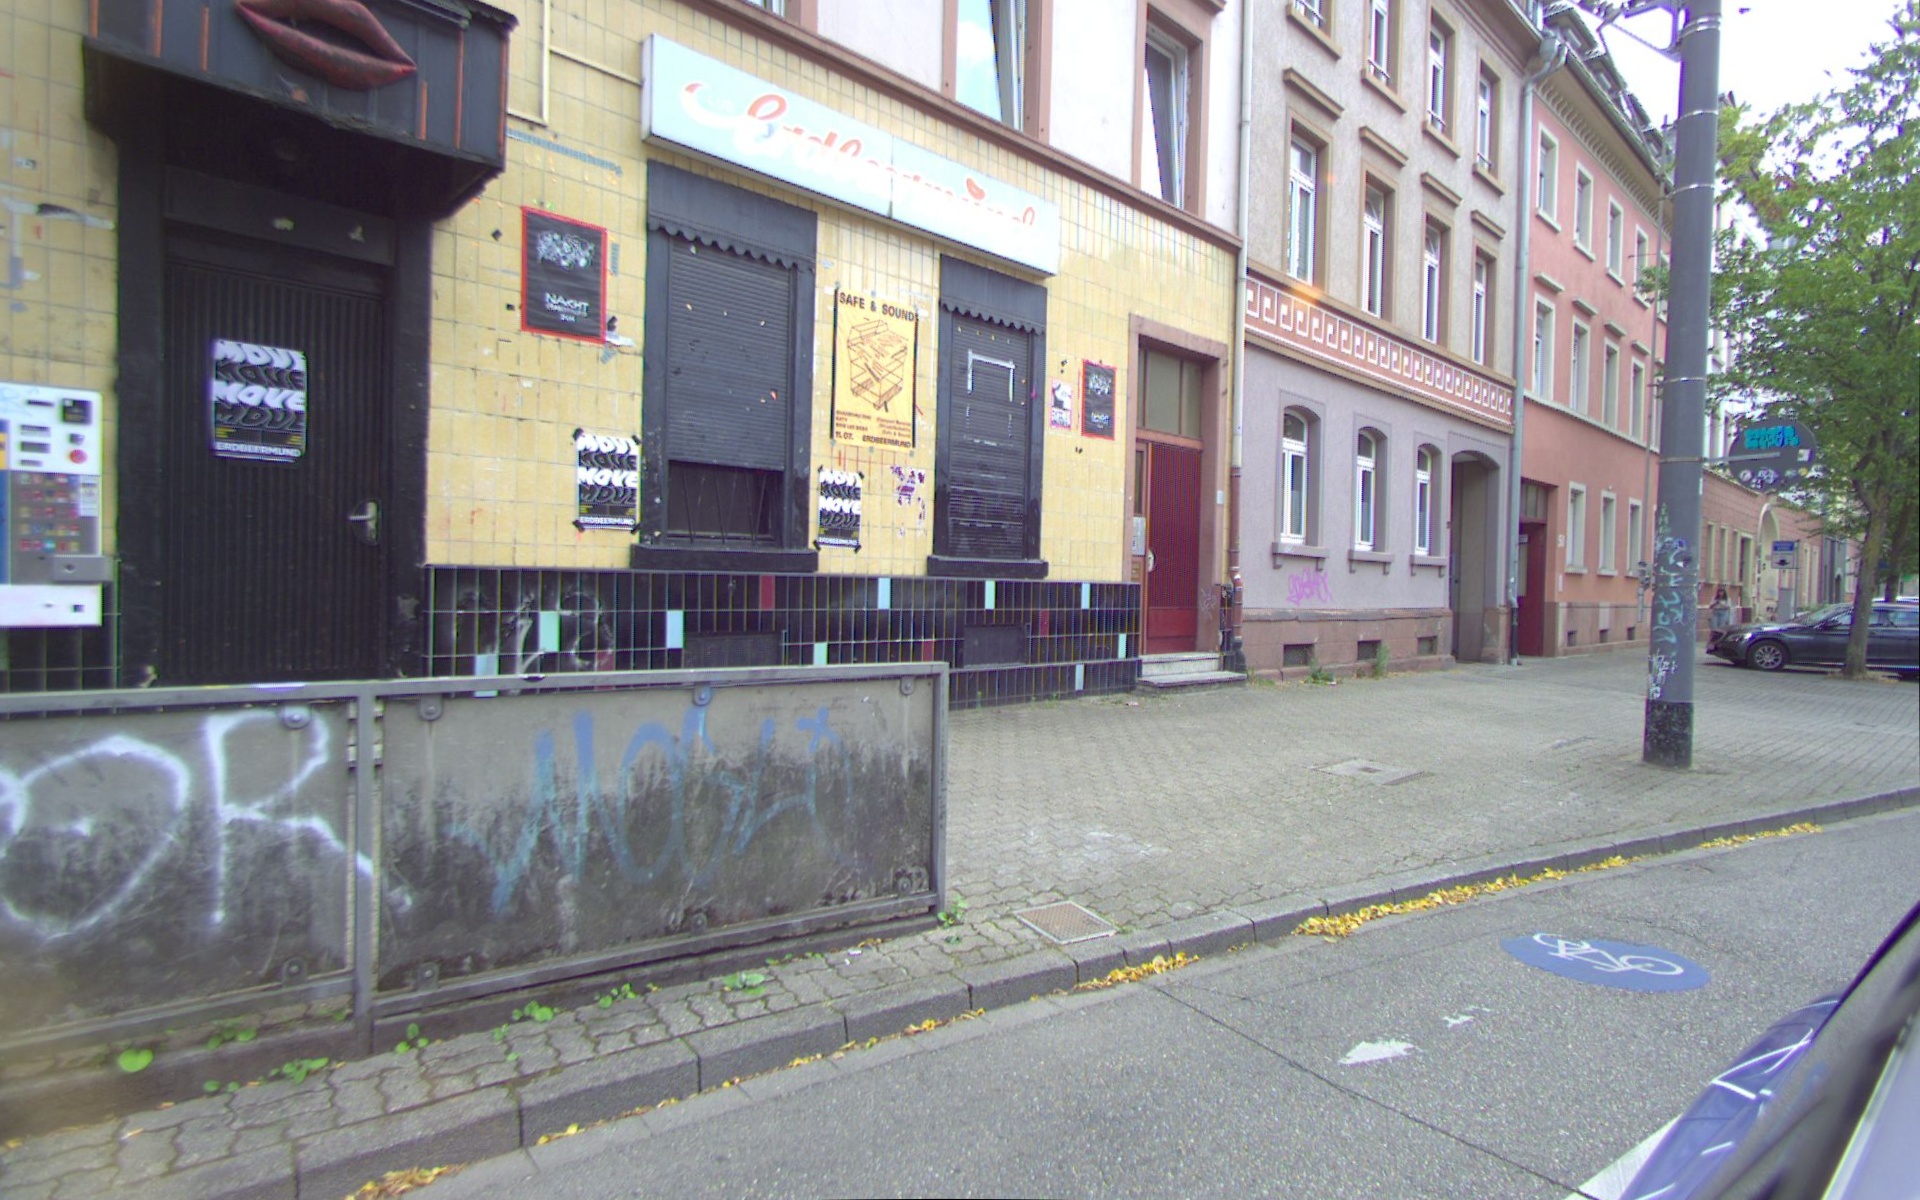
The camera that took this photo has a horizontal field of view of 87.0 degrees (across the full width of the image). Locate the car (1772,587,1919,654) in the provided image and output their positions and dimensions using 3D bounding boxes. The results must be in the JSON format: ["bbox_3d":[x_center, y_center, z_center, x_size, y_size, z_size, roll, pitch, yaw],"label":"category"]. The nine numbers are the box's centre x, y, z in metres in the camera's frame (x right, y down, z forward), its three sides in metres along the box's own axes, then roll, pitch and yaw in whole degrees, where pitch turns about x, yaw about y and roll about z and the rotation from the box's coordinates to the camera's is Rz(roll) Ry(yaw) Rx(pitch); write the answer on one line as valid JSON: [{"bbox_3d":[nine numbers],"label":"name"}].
[{"bbox_3d":[23.135,0.529,25.091,4.301,1.498,1.774,3,2,25],"label":"car"}]

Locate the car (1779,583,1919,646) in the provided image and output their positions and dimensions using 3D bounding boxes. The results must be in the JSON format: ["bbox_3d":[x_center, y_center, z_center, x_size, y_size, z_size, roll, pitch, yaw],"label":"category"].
[{"bbox_3d":[27.686,0.433,30.559,4.196,1.719,1.725,3,2,25],"label":"car"}]

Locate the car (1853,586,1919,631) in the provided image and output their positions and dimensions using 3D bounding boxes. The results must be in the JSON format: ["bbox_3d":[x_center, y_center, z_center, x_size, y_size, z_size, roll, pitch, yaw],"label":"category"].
[{"bbox_3d":[39.130,0.407,40.514,4.581,1.719,1.901,3,2,25],"label":"car"}]

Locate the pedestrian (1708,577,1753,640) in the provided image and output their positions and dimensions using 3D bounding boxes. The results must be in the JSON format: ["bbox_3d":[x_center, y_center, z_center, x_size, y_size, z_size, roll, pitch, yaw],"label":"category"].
[{"bbox_3d":[21.862,0.241,28.704,0.910,1.708,0.732,1,4,-42],"label":"pedestrian"}]

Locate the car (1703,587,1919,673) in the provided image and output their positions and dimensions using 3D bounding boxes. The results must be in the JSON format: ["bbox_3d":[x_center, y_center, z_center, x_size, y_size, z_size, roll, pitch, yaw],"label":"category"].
[{"bbox_3d":[18.025,0.589,20.371,4.581,1.491,1.774,3,2,25],"label":"car"}]
